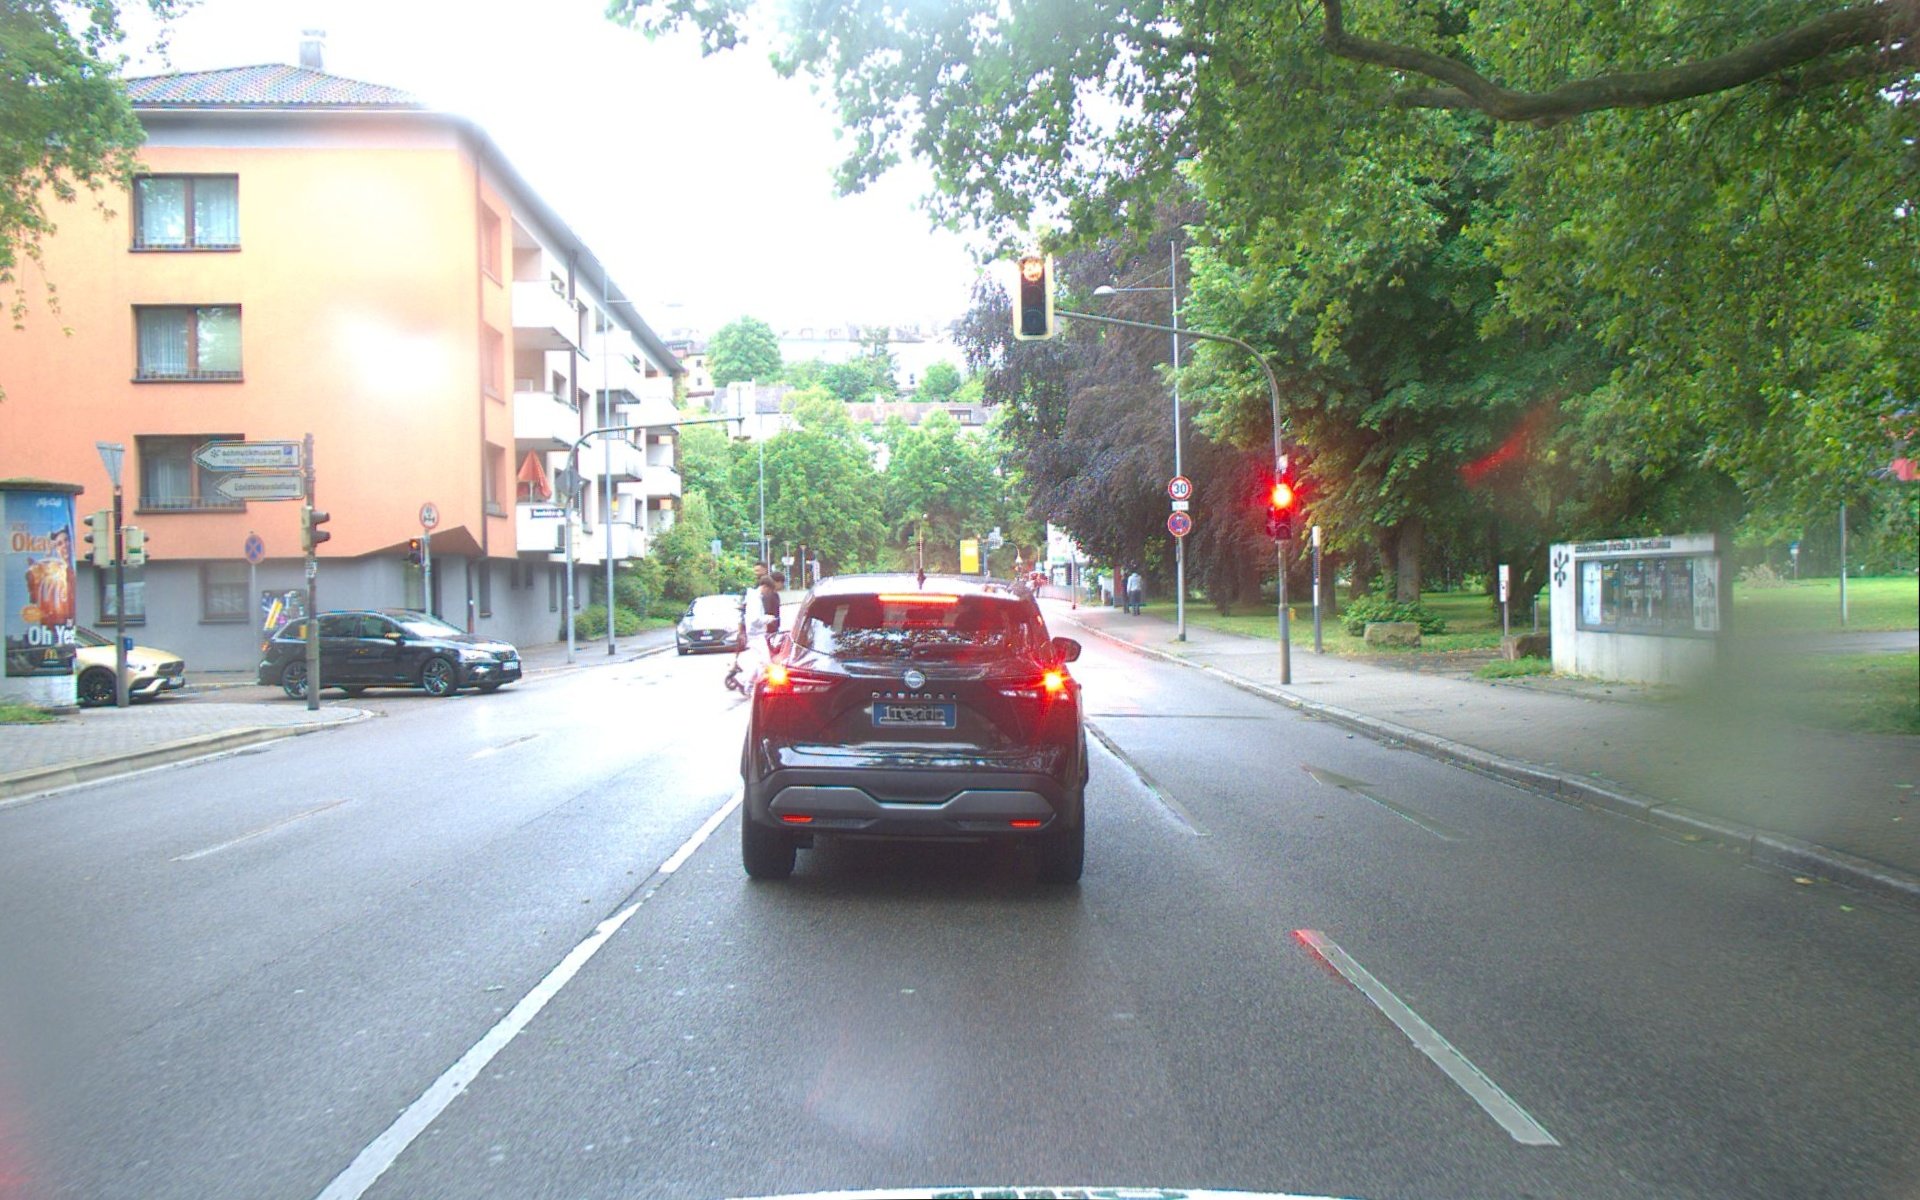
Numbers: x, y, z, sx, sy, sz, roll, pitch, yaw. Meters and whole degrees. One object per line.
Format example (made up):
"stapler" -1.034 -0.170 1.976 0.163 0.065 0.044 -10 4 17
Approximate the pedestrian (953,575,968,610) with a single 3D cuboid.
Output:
"pedestrian" 0.014 -0.383 87.589 0.605 1.833 0.510 -2 0 23

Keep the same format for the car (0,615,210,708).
"car" -15.722 1.069 28.701 4.540 1.428 1.832 -2 0 0

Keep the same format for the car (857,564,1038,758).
"car" -0.139 0.555 17.422 1.664 1.776 3.640 -2 0 -1

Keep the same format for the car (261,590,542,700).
"car" -9.356 0.734 27.883 4.036 1.654 1.853 -2 0 7

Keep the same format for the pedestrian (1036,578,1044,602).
"pedestrian" 6.349 -0.795 131.392 0.498 1.833 0.619 -2 0 -2

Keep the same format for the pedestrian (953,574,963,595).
"pedestrian" -0.151 -1.309 137.966 0.498 1.702 0.658 -2 0 27

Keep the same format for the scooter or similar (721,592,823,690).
"scooter or similar" -2.908 0.636 25.684 1.364 1.471 0.818 -1 -1 11

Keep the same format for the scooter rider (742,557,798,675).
"scooter rider" -2.946 0.258 25.685 0.629 1.797 0.736 -1 -1 13

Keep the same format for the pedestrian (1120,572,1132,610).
"pedestrian" 6.742 -0.373 67.221 0.382 1.528 0.559 -2 0 -1

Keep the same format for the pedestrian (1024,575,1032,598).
"pedestrian" 5.411 -1.073 131.299 0.498 1.833 0.619 -2 0 -1

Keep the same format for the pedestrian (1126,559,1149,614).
"pedestrian" 6.732 -0.502 62.760 0.710 2.049 0.851 -2 0 -1

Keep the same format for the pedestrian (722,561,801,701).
"pedestrian" -2.796 0.424 23.255 1.017 1.909 0.656 -1 0 -12

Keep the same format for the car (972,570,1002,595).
"car" 2.007 -1.290 121.832 1.952 1.765 4.002 1 0 4

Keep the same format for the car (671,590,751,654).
"car" -6.577 0.538 43.969 1.760 1.560 3.864 -2 0 -4

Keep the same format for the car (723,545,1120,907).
"car" -0.199 0.584 9.856 1.874 1.709 4.000 0 0 -1

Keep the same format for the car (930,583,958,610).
"car" -0.991 -0.210 101.608 1.601 1.559 3.967 -2 1 -1

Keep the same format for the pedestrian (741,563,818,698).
"pedestrian" -2.628 0.429 24.009 1.017 1.909 0.656 -1 0 -12
